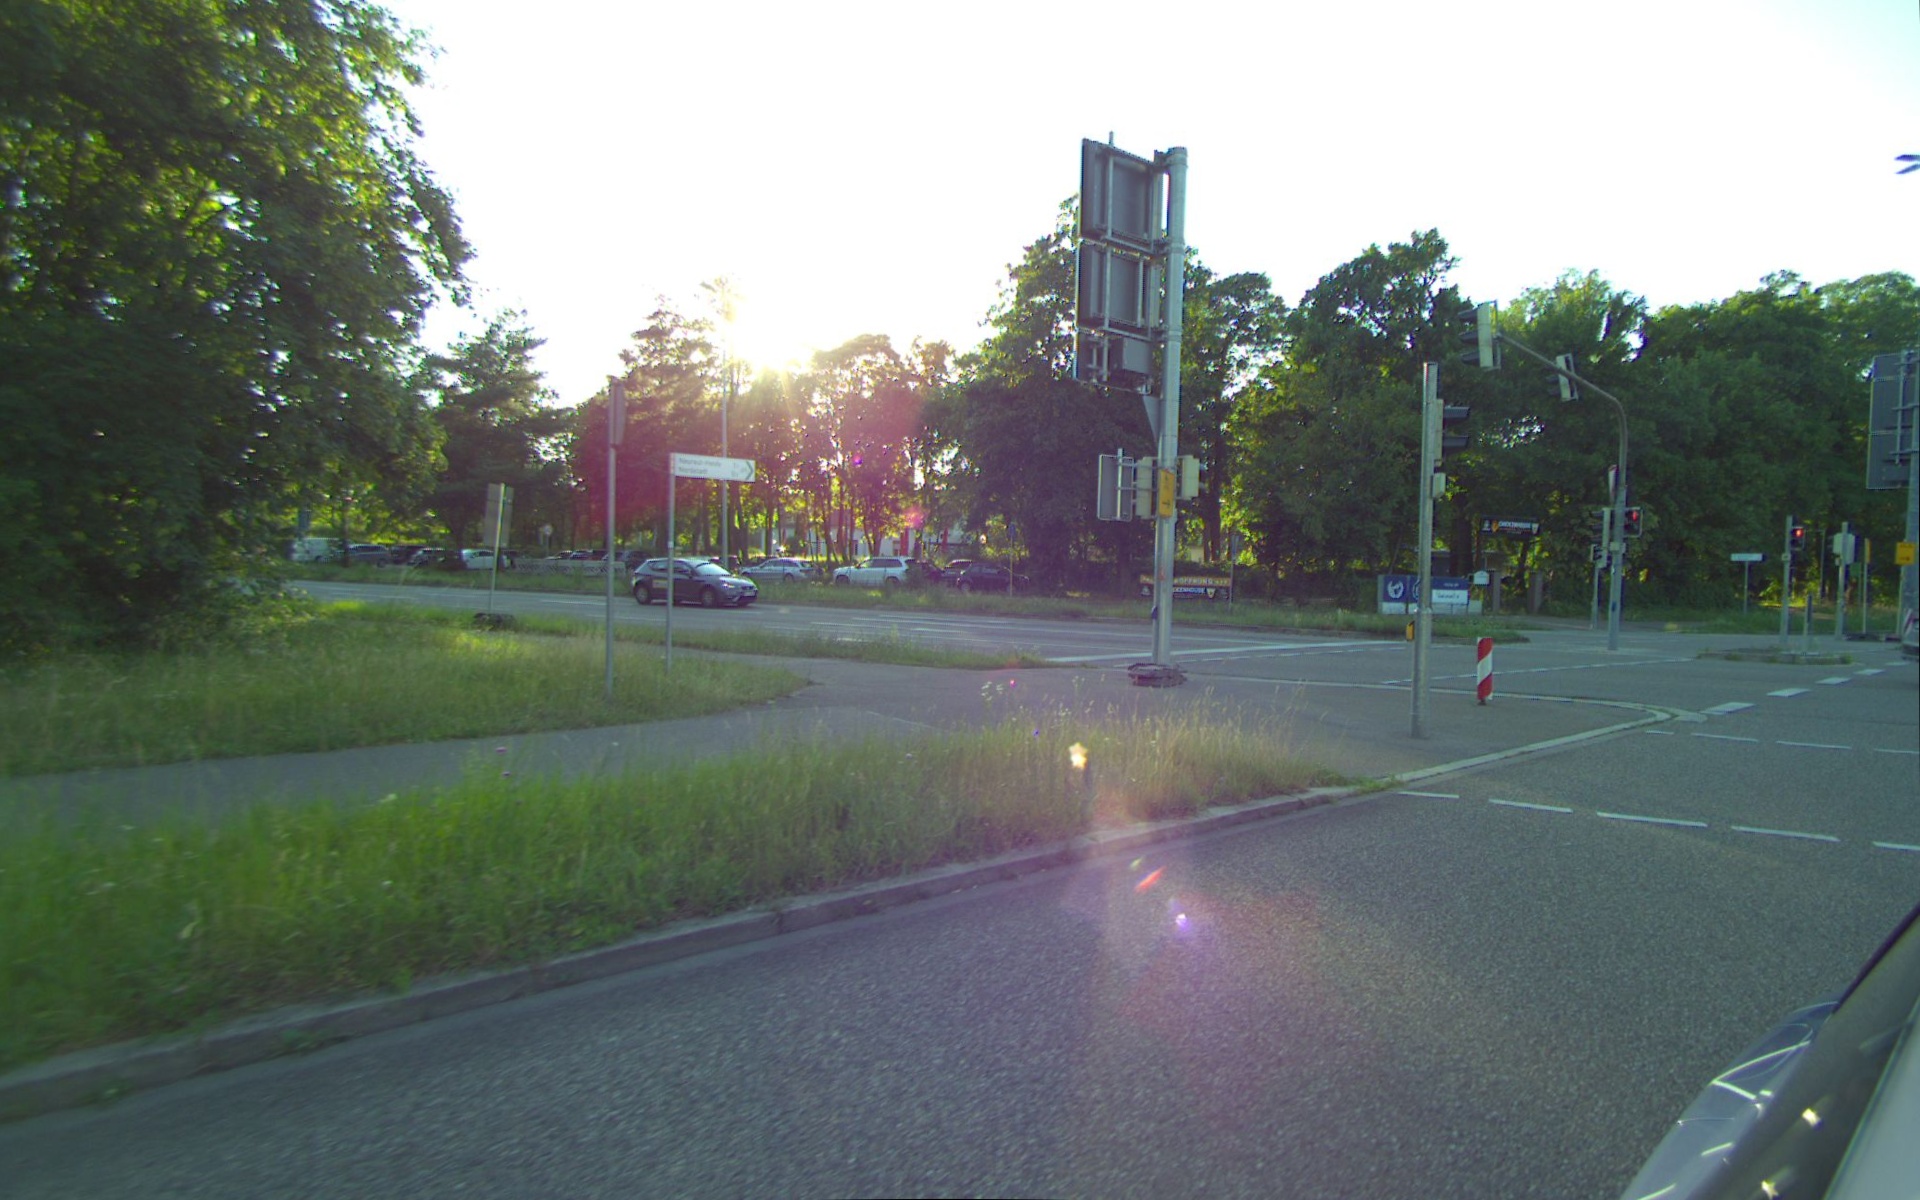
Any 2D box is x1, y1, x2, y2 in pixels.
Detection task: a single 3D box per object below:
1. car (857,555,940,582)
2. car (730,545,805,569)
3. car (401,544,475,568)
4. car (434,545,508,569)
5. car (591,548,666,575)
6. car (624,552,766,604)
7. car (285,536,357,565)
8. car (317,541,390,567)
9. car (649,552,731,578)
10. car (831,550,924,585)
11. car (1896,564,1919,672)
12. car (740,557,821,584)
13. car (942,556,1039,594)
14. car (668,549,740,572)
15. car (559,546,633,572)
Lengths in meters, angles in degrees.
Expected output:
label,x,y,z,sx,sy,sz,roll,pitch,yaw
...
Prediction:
label,x,y,z,sx,sy,sz,roll,pitch,yaw
car,-3.609,-1.870,59.434,4.498,1.424,1.851,2,2,24
car,-12.347,-2.749,64.952,4.498,1.424,1.851,2,2,24
car,-34.076,-2.858,66.137,1.765,1.497,4.137,2,2,24
car,-31.396,-2.748,65.058,1.765,1.497,4.137,2,2,24
car,-19.150,-2.222,58.588,1.746,1.497,4.010,2,2,29
car,-8.063,-0.712,30.763,4.038,1.422,1.855,2,4,28
car,-44.786,-3.468,71.022,1.808,1.888,3.962,2,2,28
car,-41.887,-3.165,69.976,1.808,1.657,3.962,2,2,28
car,-15.425,-1.998,57.753,4.450,1.340,1.666,2,2,24
car,-4.278,-1.707,52.422,4.498,1.678,1.851,2,2,24
car,16.720,0.376,14.533,4.356,1.643,1.982,2,4,28
car,-9.759,-1.618,55.010,3.957,1.348,1.851,2,2,24
car,1.512,-1.241,49.604,4.481,1.678,1.858,3,2,14
car,-17.126,-2.629,67.704,4.498,1.424,1.851,2,2,24
car,-21.865,-2.468,60.865,1.979,1.471,3.966,2,2,25
